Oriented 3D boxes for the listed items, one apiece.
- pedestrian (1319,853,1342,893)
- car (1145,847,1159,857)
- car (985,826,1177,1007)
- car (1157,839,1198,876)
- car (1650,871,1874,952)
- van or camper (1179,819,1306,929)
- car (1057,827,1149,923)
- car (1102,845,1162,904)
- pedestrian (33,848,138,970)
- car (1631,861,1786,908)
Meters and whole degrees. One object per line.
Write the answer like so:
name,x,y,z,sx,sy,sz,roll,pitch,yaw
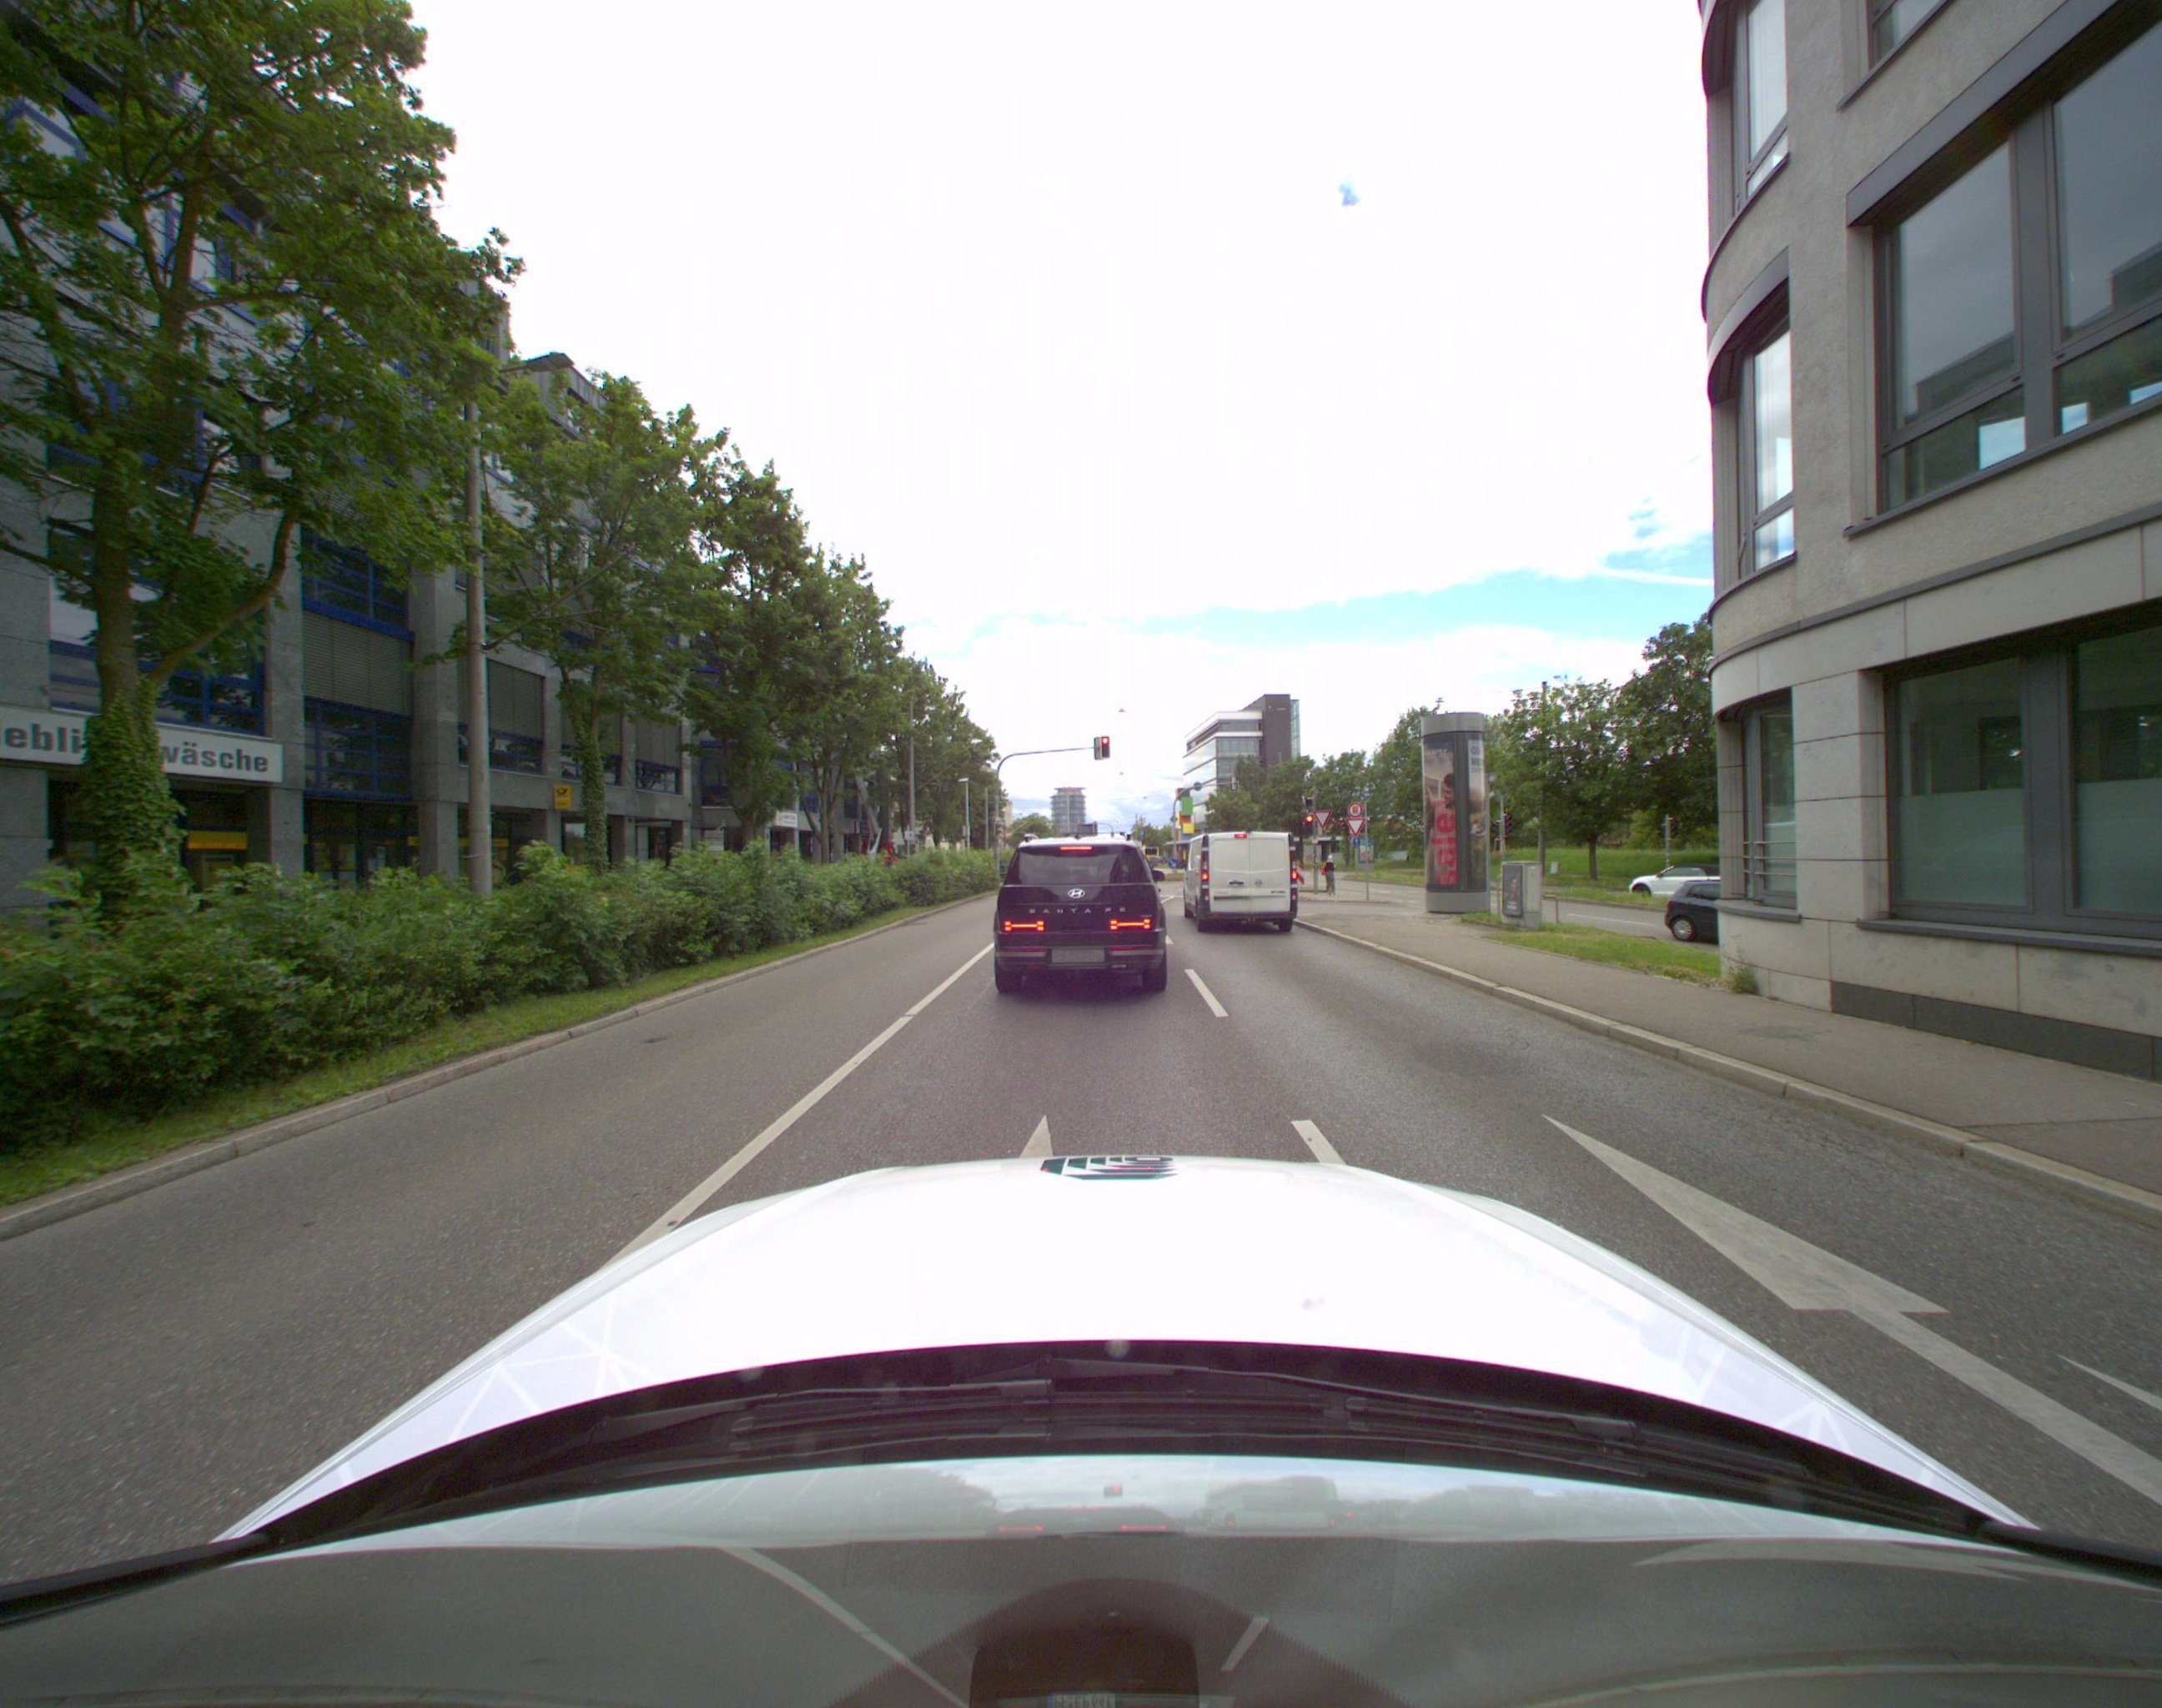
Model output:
pedestrian,10.025,0.766,32.700,0.744,1.584,0.567,1,0,-39
car,12.050,-0.312,137.833,1.988,1.684,3.998,-1,-1,-1
car,0.051,0.619,10.039,1.862,1.760,3.881,-1,0,1
car,5.456,0.226,46.532,1.985,2.014,4.002,-1,-1,2
car,16.014,1.262,19.407,1.703,1.684,3.767,0,-1,-18
van or camper,3.264,0.375,17.402,1.985,2.013,4.656,-1,0,3
car,0.522,0.453,19.347,1.908,2.003,3.881,-1,0,1
car,1.633,0.632,26.399,1.768,1.717,4.342,-1,-1,3
pedestrian,-16.017,0.865,13.120,0.771,1.894,0.731,-1,-1,1
car,21.767,1.015,28.467,1.995,1.453,3.984,1,0,-12
